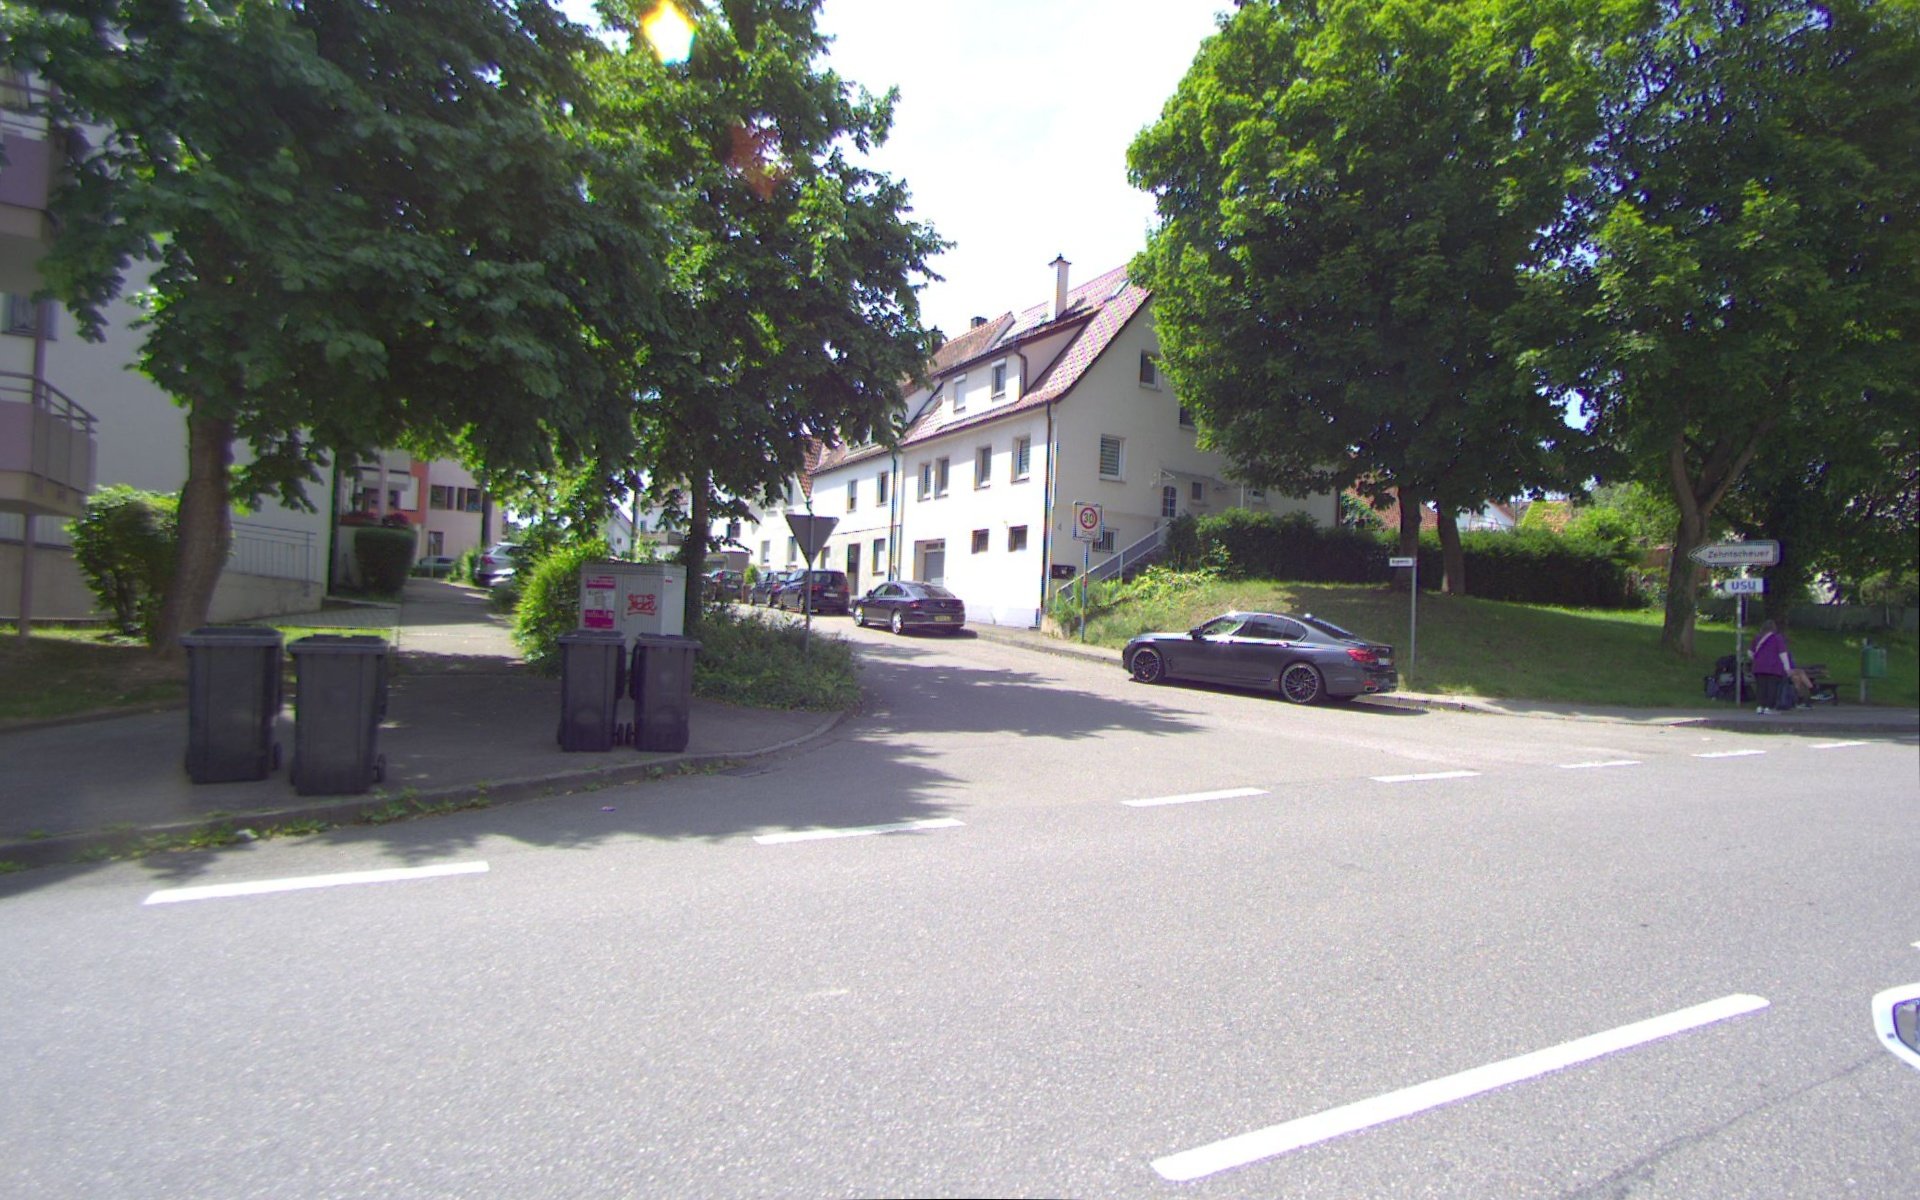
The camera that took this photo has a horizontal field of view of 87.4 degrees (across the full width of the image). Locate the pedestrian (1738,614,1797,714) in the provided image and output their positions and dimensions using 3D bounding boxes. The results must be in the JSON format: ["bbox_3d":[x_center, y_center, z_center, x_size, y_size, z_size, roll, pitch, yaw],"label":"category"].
[{"bbox_3d":[13.786,1.081,17.152,0.721,1.638,0.626,2,0,40],"label":"pedestrian"}]

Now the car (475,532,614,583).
[{"bbox_3d":[-13.677,-1.341,33.076,4.066,1.437,1.985,2,0,-28],"label":"car"}]

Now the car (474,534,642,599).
[{"bbox_3d":[-11.164,-0.889,27.938,4.098,1.588,1.984,1,0,-30],"label":"car"}]

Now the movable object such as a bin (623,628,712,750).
[{"bbox_3d":[-2.730,0.812,9.340,0.601,1.013,0.768,4,2,-27],"label":"movable object such as a bin"}]

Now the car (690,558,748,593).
[{"bbox_3d":[-12.023,-1.247,50.041,1.974,1.588,3.972,1,3,-26],"label":"car"}]

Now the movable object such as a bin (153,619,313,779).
[{"bbox_3d":[-5.156,0.675,7.182,0.795,1.014,0.797,2,1,-28],"label":"movable object such as a bin"}]

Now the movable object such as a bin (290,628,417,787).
[{"bbox_3d":[-4.244,0.723,7.086,0.685,1.013,0.848,2,0,-28],"label":"movable object such as a bin"}]

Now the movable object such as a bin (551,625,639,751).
[{"bbox_3d":[-3.307,0.782,9.075,0.601,1.013,0.768,4,2,-28],"label":"movable object such as a bin"}]

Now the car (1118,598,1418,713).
[{"bbox_3d":[5.421,0.895,18.089,4.720,1.499,1.990,5,2,42],"label":"car"}]

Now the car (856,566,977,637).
[{"bbox_3d":[-1.298,-0.009,27.941,1.884,1.707,3.972,1,3,-26],"label":"car"}]

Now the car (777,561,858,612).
[{"bbox_3d":[-5.329,-0.535,37.129,1.751,1.669,3.971,1,3,-27],"label":"car"}]

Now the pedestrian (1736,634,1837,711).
[{"bbox_3d":[15.093,1.301,18.363,0.638,1.286,1.232,2,1,-26],"label":"pedestrian"}]
